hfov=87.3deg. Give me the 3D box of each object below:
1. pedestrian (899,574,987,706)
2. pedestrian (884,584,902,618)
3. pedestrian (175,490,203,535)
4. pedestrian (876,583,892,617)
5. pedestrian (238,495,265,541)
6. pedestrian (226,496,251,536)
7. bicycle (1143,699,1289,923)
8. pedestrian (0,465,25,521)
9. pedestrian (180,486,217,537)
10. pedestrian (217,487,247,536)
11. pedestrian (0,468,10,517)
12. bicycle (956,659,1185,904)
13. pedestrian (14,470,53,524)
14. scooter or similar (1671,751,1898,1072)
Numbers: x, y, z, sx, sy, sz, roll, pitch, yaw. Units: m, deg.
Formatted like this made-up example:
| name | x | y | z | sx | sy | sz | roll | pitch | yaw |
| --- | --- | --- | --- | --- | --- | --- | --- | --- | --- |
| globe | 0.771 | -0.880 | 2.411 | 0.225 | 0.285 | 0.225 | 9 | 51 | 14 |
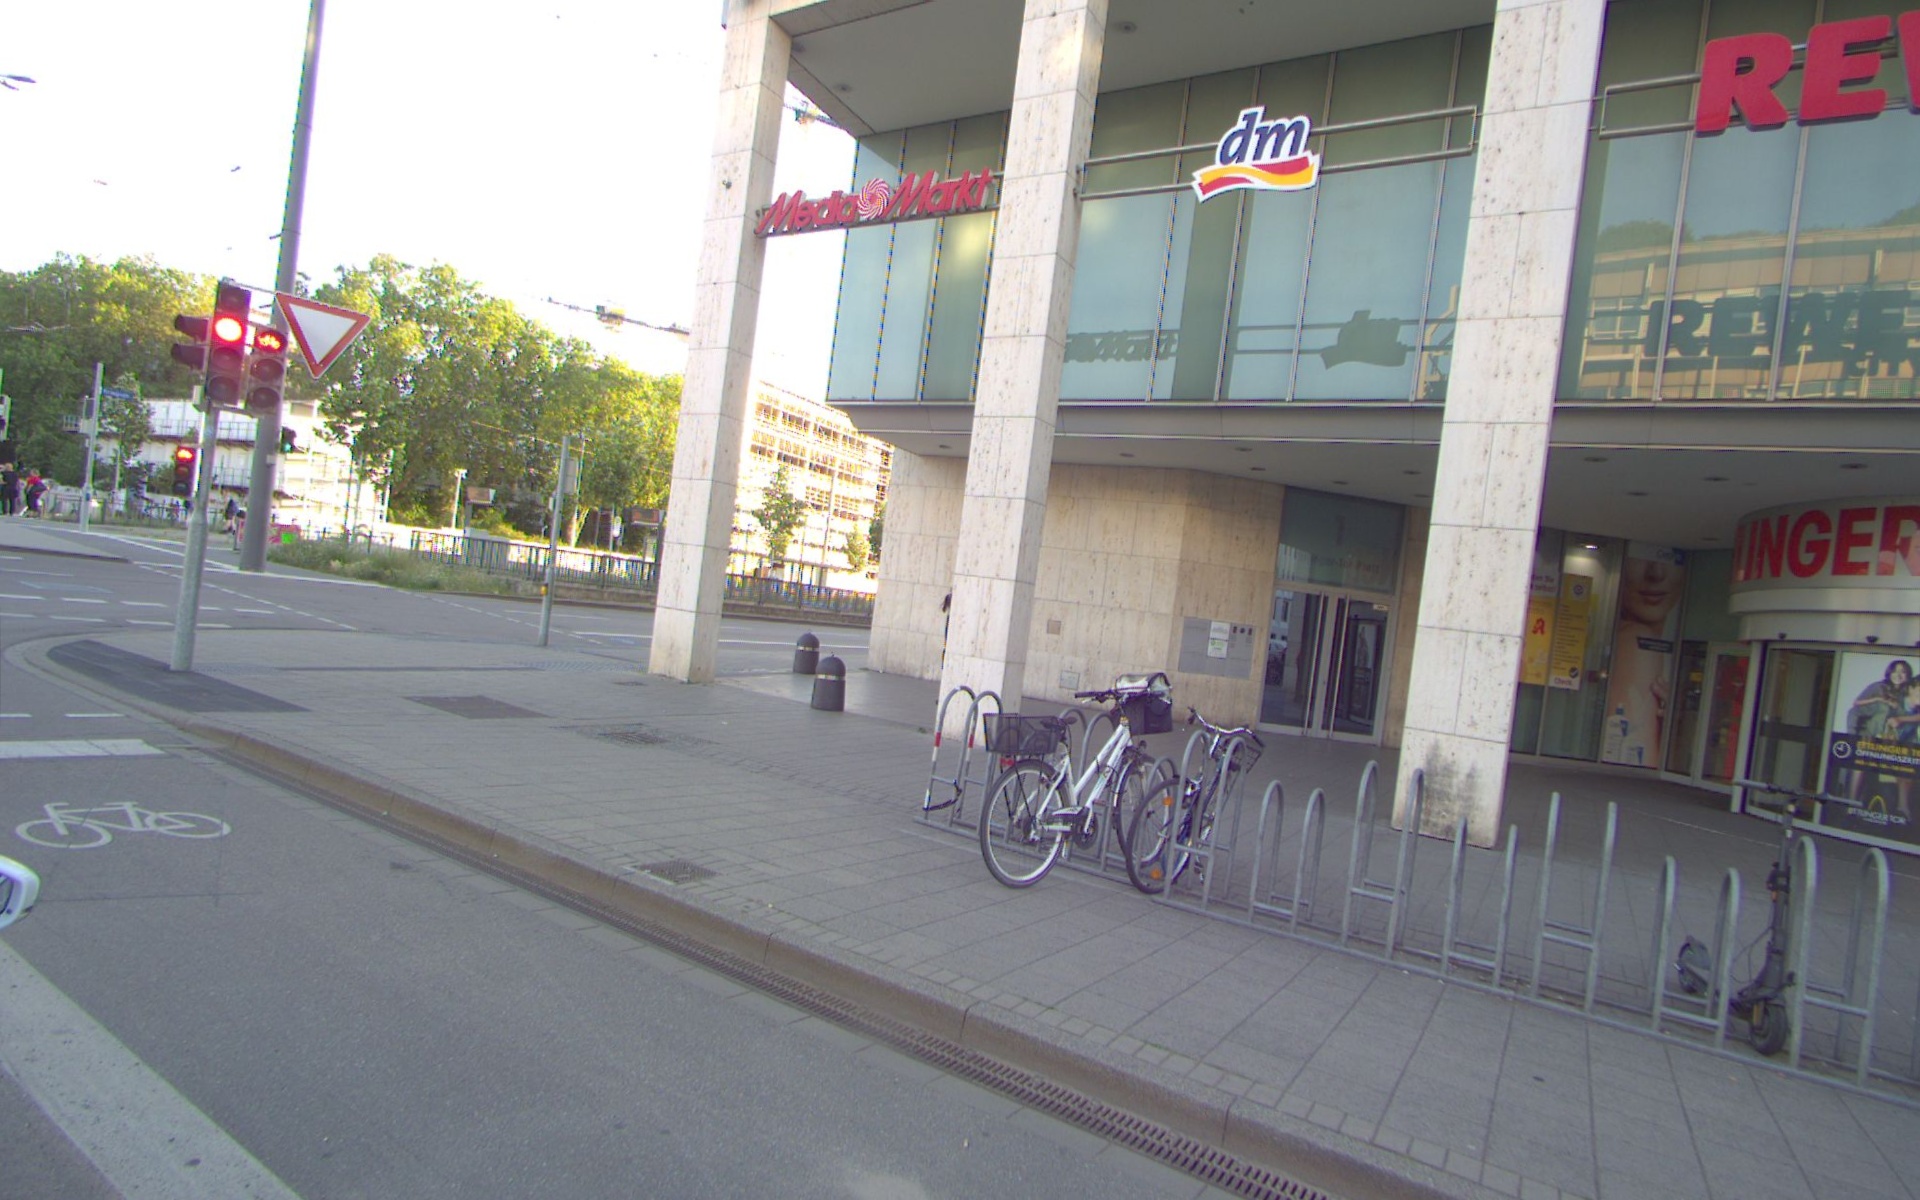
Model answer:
| name | x | y | z | sx | sy | sz | roll | pitch | yaw |
| --- | --- | --- | --- | --- | --- | --- | --- | --- | --- |
| pedestrian | -0.221 | 0.546 | 13.618 | 0.696 | 1.659 | 0.791 | 8 | 1 | 31 |
| pedestrian | -4.166 | 0.074 | 62.525 | 0.631 | 2.039 | 0.626 | 8 | 1 | 28 |
| pedestrian | -29.453 | -3.341 | 38.455 | 0.527 | 1.612 | 0.571 | 8 | 1 | 32 |
| pedestrian | -4.740 | 0.020 | 62.856 | 0.559 | 2.039 | 0.575 | 8 | 1 | 29 |
| pedestrian | -28.450 | -3.292 | 40.405 | 0.661 | 1.746 | 0.707 | 7 | 1 | -30 |
| pedestrian | -28.106 | -3.255 | 39.179 | 0.672 | 1.459 | 0.707 | 7 | 1 | -36 |
| bicycle | 1.674 | 1.236 | 6.372 | 0.474 | 1.092 | 1.773 | 8 | 0 | 24 |
| pedestrian | -32.799 | -3.703 | 34.576 | 0.803 | 1.814 | 0.790 | 7 | 1 | -44 |
| pedestrian | -28.544 | -3.317 | 37.701 | 0.655 | 1.746 | 0.713 | 7 | 1 | 14 |
| pedestrian | -27.798 | -3.380 | 38.416 | 0.708 | 1.746 | 0.660 | 7 | 1 | -41 |
| pedestrian | -33.980 | -3.824 | 35.458 | 0.570 | 1.699 | 0.631 | 7 | 1 | -44 |
| bicycle | 0.700 | 1.002 | 5.925 | 0.540 | 1.198 | 1.479 | 8 | 1 | 36 |
| pedestrian | -32.682 | -3.639 | 35.491 | 0.696 | 1.756 | 0.843 | 8 | 1 | 44 |
| scooter or similar | 3.986 | 1.434 | 4.955 | 0.484 | 1.214 | 1.196 | 8 | 1 | 27 |
